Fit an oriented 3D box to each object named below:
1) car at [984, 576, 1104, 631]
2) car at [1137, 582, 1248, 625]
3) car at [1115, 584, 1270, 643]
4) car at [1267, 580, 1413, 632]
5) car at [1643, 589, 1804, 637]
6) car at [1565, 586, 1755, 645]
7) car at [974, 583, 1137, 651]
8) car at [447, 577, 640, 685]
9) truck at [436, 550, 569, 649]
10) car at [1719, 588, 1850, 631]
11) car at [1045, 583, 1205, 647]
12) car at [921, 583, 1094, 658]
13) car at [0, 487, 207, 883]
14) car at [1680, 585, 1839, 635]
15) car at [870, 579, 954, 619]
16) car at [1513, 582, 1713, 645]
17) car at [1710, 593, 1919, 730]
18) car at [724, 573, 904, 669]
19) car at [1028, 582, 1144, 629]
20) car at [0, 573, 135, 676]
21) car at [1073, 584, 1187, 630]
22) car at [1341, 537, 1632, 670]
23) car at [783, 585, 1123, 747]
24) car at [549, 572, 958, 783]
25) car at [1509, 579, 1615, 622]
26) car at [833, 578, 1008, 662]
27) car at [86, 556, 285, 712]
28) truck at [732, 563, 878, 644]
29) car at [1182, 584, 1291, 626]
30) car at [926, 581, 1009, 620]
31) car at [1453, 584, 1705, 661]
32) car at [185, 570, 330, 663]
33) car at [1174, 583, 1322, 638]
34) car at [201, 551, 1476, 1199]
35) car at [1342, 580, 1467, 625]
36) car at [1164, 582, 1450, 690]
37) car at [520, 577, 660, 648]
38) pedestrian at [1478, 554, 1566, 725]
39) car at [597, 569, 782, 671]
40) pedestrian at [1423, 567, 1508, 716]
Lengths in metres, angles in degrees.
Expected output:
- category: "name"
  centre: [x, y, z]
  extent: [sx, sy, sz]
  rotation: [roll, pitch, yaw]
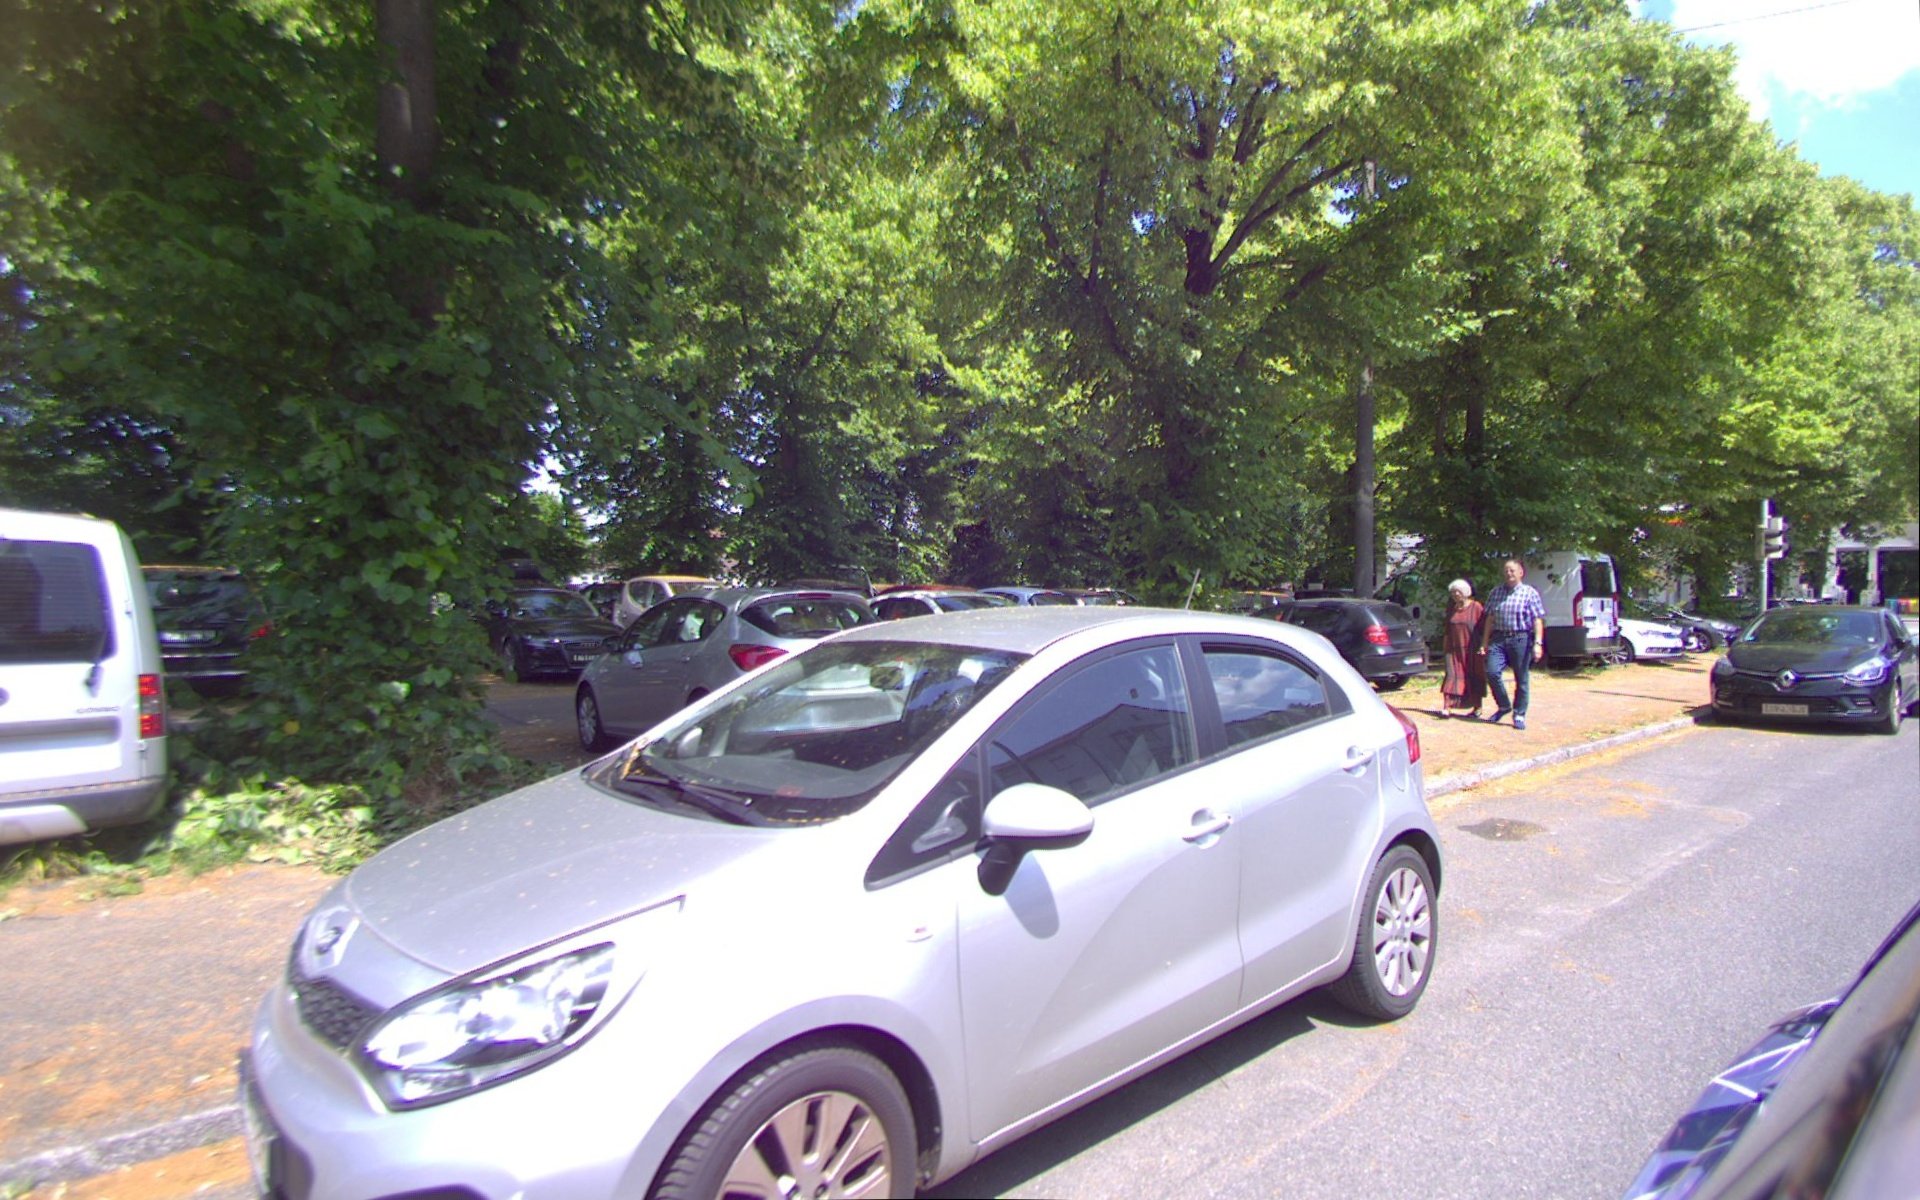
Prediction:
- category: "car"
  centre: [2.613, 0.057, 32.159]
  extent: [1.706, 1.608, 3.808]
  rotation: [0, 1, -38]
- category: "car"
  centre: [8.537, 0.085, 37.400]
  extent: [1.706, 1.483, 3.808]
  rotation: [0, 1, -38]
- category: "car"
  centre: [6.414, 0.306, 28.266]
  extent: [1.772, 1.491, 3.997]
  rotation: [-1, 2, -38]
- category: "car"
  centre: [12.753, 0.166, 34.145]
  extent: [1.787, 1.607, 4.259]
  rotation: [0, 1, -41]
- category: "car"
  centre: [23.332, 0.388, 31.009]
  extent: [3.833, 1.375, 1.605]
  rotation: [-1, 0, 42]
- category: "car"
  centre: [19.283, 0.395, 28.011]
  extent: [1.608, 1.513, 4.073]
  rotation: [0, 0, -41]
- category: "car"
  centre: [2.279, 0.346, 25.073]
  extent: [1.772, 1.491, 3.997]
  rotation: [-1, 2, -38]
- category: "car"
  centre: [-6.809, 0.394, 16.318]
  extent: [1.652, 1.502, 3.993]
  rotation: [-1, 2, -42]
- category: "truck"
  centre: [-9.744, -0.047, 21.412]
  extent: [1.706, 1.905, 3.807]
  rotation: [0, 1, -38]
- category: "car"
  centre: [31.850, 0.333, 39.141]
  extent: [1.823, 1.546, 3.756]
  rotation: [0, 1, -43]
- category: "car"
  centre: [4.215, 0.321, 26.345]
  extent: [1.772, 1.491, 3.997]
  rotation: [-1, 2, -38]
- category: "car"
  centre: [0.991, 0.387, 23.016]
  extent: [1.772, 1.491, 3.997]
  rotation: [-1, 2, -38]
- category: "car"
  centre: [-5.476, 0.342, 5.584]
  extent: [1.637, 1.688, 3.765]
  rotation: [0, 1, -44]
- category: "car"
  centre: [26.309, 0.306, 33.425]
  extent: [1.597, 1.555, 3.773]
  rotation: [0, 0, -29]
- category: "car"
  centre: [-2.036, -0.056, 42.210]
  extent: [1.705, 1.587, 3.809]
  rotation: [0, 1, -36]
- category: "car"
  centre: [16.949, 0.375, 26.414]
  extent: [1.608, 1.513, 4.073]
  rotation: [0, -1, -41]
- category: "car"
  centre: [10.944, 0.644, 12.657]
  extent: [3.929, 1.446, 1.666]
  rotation: [0, 0, -40]
- category: "car"
  centre: [-2.975, 0.316, 19.996]
  extent: [1.772, 1.682, 3.997]
  rotation: [0, 2, -38]
- category: "car"
  centre: [4.186, 0.145, 34.085]
  extent: [1.706, 1.483, 3.808]
  rotation: [0, 1, -38]
- category: "car"
  centre: [-14.529, 0.386, 16.327]
  extent: [1.658, 1.486, 3.912]
  rotation: [0, -1, -36]
- category: "car"
  centre: [5.878, 0.214, 35.346]
  extent: [1.706, 1.511, 3.808]
  rotation: [0, 1, -38]
- category: "car"
  centre: [10.217, 0.109, 19.941]
  extent: [2.068, 2.305, 4.611]
  rotation: [0, -2, -40]
- category: "car"
  centre: [-0.245, 0.570, 11.231]
  extent: [1.639, 1.446, 3.996]
  rotation: [0, 1, -39]
- category: "car"
  centre: [-1.997, 0.534, 8.894]
  extent: [1.777, 1.416, 3.992]
  rotation: [0, 0, -42]
- category: "car"
  centre: [27.501, -0.022, 46.313]
  extent: [1.901, 1.874, 3.801]
  rotation: [0, 1, -44]
- category: "car"
  centre: [-0.938, 0.348, 21.778]
  extent: [1.772, 1.606, 3.997]
  rotation: [0, 2, -38]
- category: "car"
  centre: [-10.098, 0.316, 13.083]
  extent: [1.673, 1.700, 3.991]
  rotation: [-1, 2, -43]
- category: "truck"
  centre: [-3.932, 0.046, 25.193]
  extent: [1.844, 1.837, 4.132]
  rotation: [0, 1, -38]
- category: "car"
  centre: [10.584, 0.146, 38.979]
  extent: [1.706, 1.483, 3.808]
  rotation: [0, 1, -38]
- category: "car"
  centre: [0.297, -0.016, 44.058]
  extent: [1.705, 1.587, 3.809]
  rotation: [0, 1, -36]
- category: "car"
  centre: [13.304, 0.492, 21.966]
  extent: [1.777, 1.513, 4.330]
  rotation: [0, -2, -41]
- category: "car"
  centre: [-12.595, 0.229, 18.058]
  extent: [1.708, 1.478, 3.804]
  rotation: [0, 1, -41]
- category: "car"
  centre: [8.536, 0.264, 30.244]
  extent: [1.772, 1.491, 3.997]
  rotation: [-1, 2, -38]
- category: "car"
  centre: [-0.044, 0.669, 3.318]
  extent: [3.823, 1.504, 1.770]
  rotation: [-1, 0, -41]
- category: "car"
  centre: [16.601, 0.056, 37.884]
  extent: [1.710, 1.541, 3.947]
  rotation: [0, 1, -45]
- category: "car"
  centre: [5.363, 0.535, 16.075]
  extent: [1.686, 1.492, 3.995]
  rotation: [-1, -1, -38]
- category: "car"
  centre: [-8.502, 0.228, 23.101]
  extent: [1.708, 1.478, 3.803]
  rotation: [0, 1, -42]
- category: "pedestrian"
  centre: [6.127, 0.408, 11.031]
  extent: [0.724, 1.787, 0.618]
  rotation: [0, -1, -41]
- category: "car"
  centre: [-5.038, 0.273, 18.521]
  extent: [1.652, 1.661, 3.993]
  rotation: [-1, 2, -42]
- category: "pedestrian"
  centre: [5.738, 0.449, 11.491]
  extent: [0.724, 1.613, 0.618]
  rotation: [0, -1, -41]
